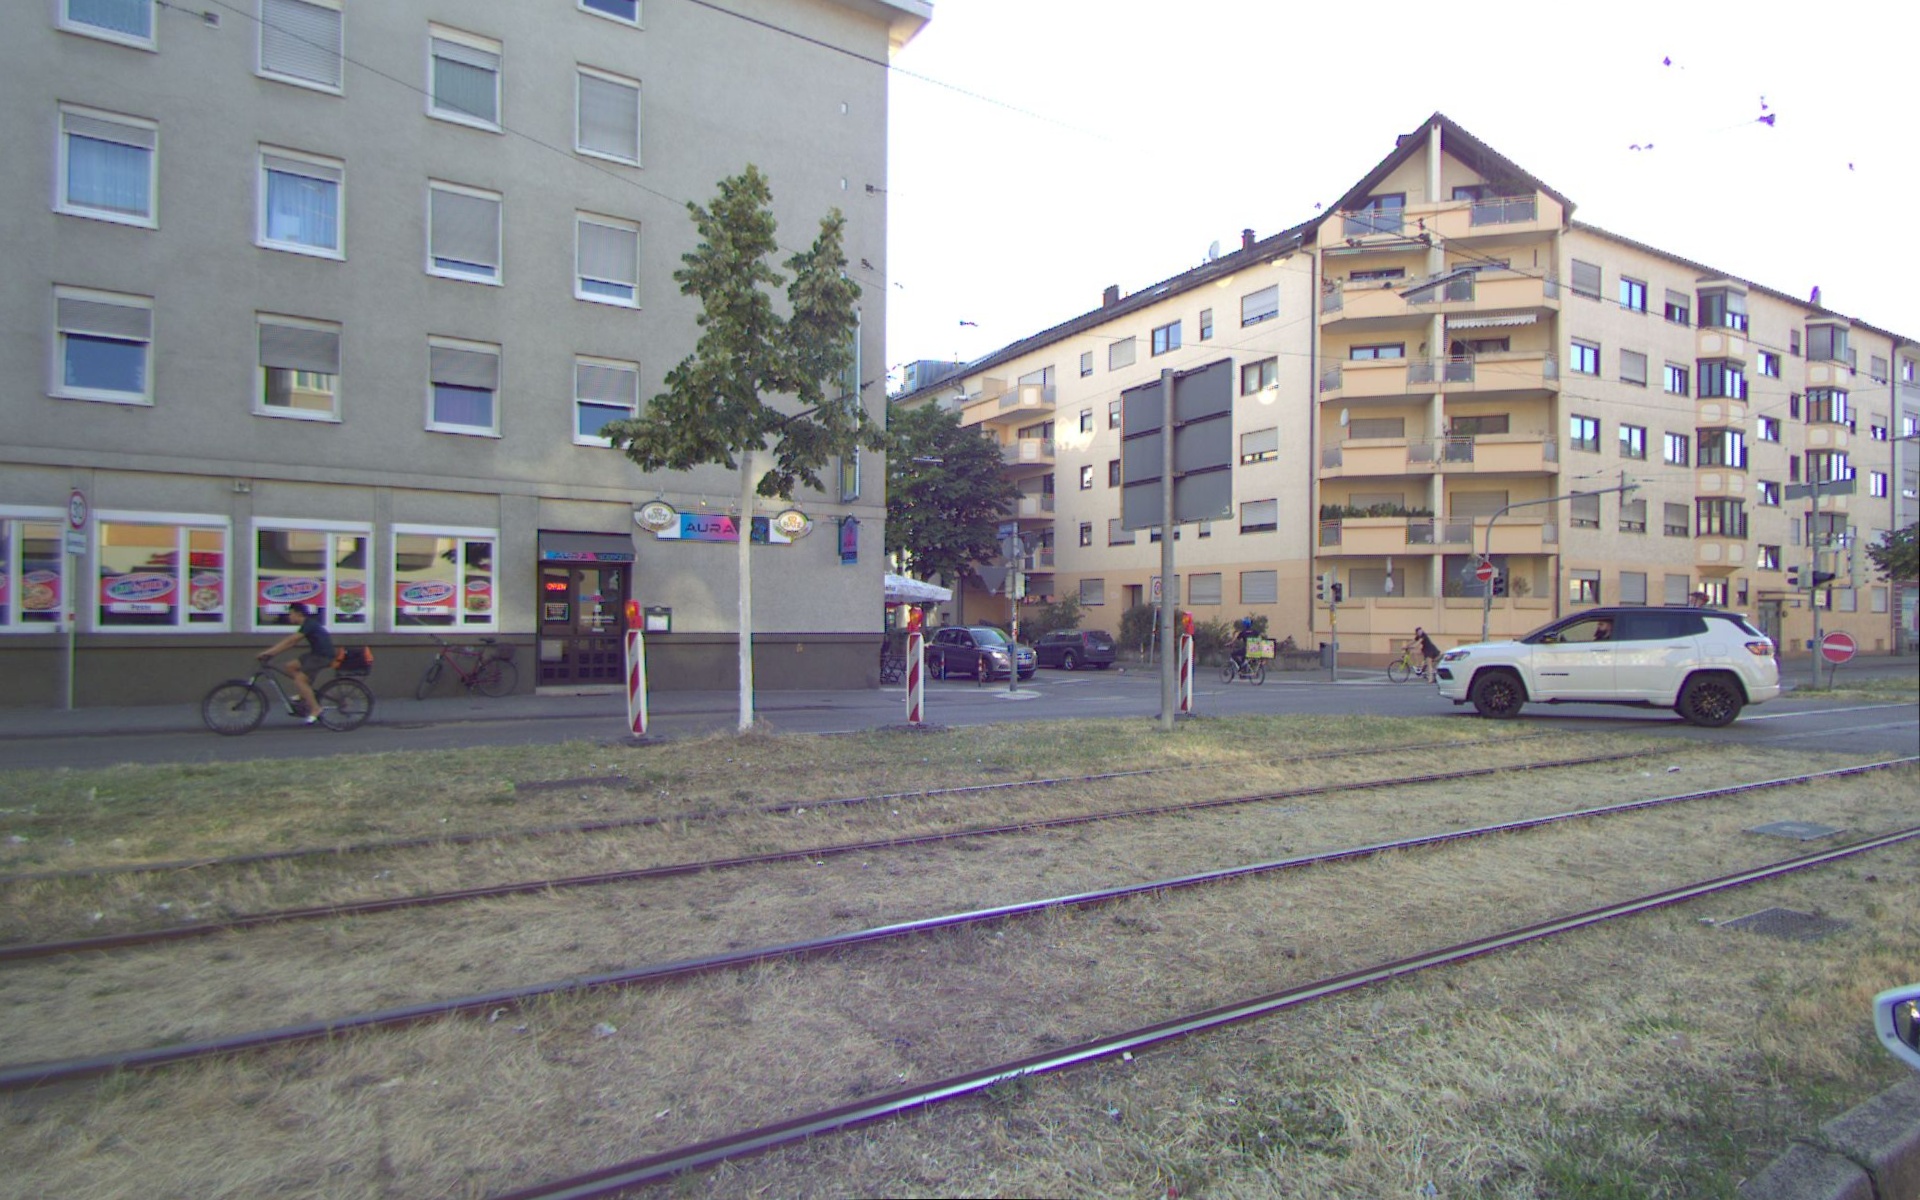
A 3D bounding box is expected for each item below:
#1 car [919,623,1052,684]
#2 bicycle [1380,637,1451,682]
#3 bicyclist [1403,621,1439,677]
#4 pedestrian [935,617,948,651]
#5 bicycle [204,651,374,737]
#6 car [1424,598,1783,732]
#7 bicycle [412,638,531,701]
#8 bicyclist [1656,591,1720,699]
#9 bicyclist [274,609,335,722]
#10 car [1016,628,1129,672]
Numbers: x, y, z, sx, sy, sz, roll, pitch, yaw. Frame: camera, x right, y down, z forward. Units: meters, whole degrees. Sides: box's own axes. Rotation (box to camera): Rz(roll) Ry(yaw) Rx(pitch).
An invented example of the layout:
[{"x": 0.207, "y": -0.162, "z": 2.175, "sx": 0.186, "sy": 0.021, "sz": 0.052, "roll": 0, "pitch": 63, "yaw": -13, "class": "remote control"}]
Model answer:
[{"x": 0.723, "y": 1.609, "z": 31.534, "sx": 1.982, "sy": 1.645, "sz": 4.153, "roll": -3, "pitch": 1, "yaw": -38, "class": "car"}, {"x": 13.295, "y": 1.739, "z": 29.334, "sx": 1.833, "sy": 1.274, "sz": 0.457, "roll": 0, "pitch": 0, "yaw": 3, "class": "bicycle"}, {"x": 13.455, "y": 1.412, "z": 29.337, "sx": 0.793, "sy": 1.607, "sz": 0.628, "roll": 0, "pitch": 0, "yaw": 4, "class": "bicyclist"}, {"x": -0.941, "y": 1.740, "z": 51.452, "sx": 0.456, "sy": 1.727, "sz": 0.589, "roll": 2, "pitch": 0, "yaw": -24, "class": "pedestrian"}, {"x": -8.879, "y": 1.218, "z": 13.354, "sx": 1.842, "sy": 1.058, "sz": 0.443, "roll": 1, "pitch": -1, "yaw": -36, "class": "bicycle"}, {"x": 9.546, "y": 0.897, "z": 15.241, "sx": 4.319, "sy": 1.757, "sz": 1.995, "roll": 0, "pitch": -2, "yaw": 33, "class": "car"}, {"x": -8.609, "y": 1.217, "z": 17.728, "sx": 1.823, "sy": 1.037, "sz": 0.605, "roll": 2, "pitch": 0, "yaw": -31, "class": "bicycle"}, {"x": 13.282, "y": 0.800, "z": 18.325, "sx": 0.648, "sy": 1.907, "sz": 0.799, "roll": -1, "pitch": 0, "yaw": -41, "class": "bicyclist"}, {"x": -8.764, "y": 0.856, "z": 13.439, "sx": 0.643, "sy": 1.465, "sz": 0.773, "roll": 1, "pitch": -1, "yaw": -34, "class": "bicyclist"}, {"x": 4.147, "y": 1.805, "z": 37.532, "sx": 1.982, "sy": 1.462, "sz": 3.957, "roll": -1, "pitch": 0, "yaw": -38, "class": "car"}]
